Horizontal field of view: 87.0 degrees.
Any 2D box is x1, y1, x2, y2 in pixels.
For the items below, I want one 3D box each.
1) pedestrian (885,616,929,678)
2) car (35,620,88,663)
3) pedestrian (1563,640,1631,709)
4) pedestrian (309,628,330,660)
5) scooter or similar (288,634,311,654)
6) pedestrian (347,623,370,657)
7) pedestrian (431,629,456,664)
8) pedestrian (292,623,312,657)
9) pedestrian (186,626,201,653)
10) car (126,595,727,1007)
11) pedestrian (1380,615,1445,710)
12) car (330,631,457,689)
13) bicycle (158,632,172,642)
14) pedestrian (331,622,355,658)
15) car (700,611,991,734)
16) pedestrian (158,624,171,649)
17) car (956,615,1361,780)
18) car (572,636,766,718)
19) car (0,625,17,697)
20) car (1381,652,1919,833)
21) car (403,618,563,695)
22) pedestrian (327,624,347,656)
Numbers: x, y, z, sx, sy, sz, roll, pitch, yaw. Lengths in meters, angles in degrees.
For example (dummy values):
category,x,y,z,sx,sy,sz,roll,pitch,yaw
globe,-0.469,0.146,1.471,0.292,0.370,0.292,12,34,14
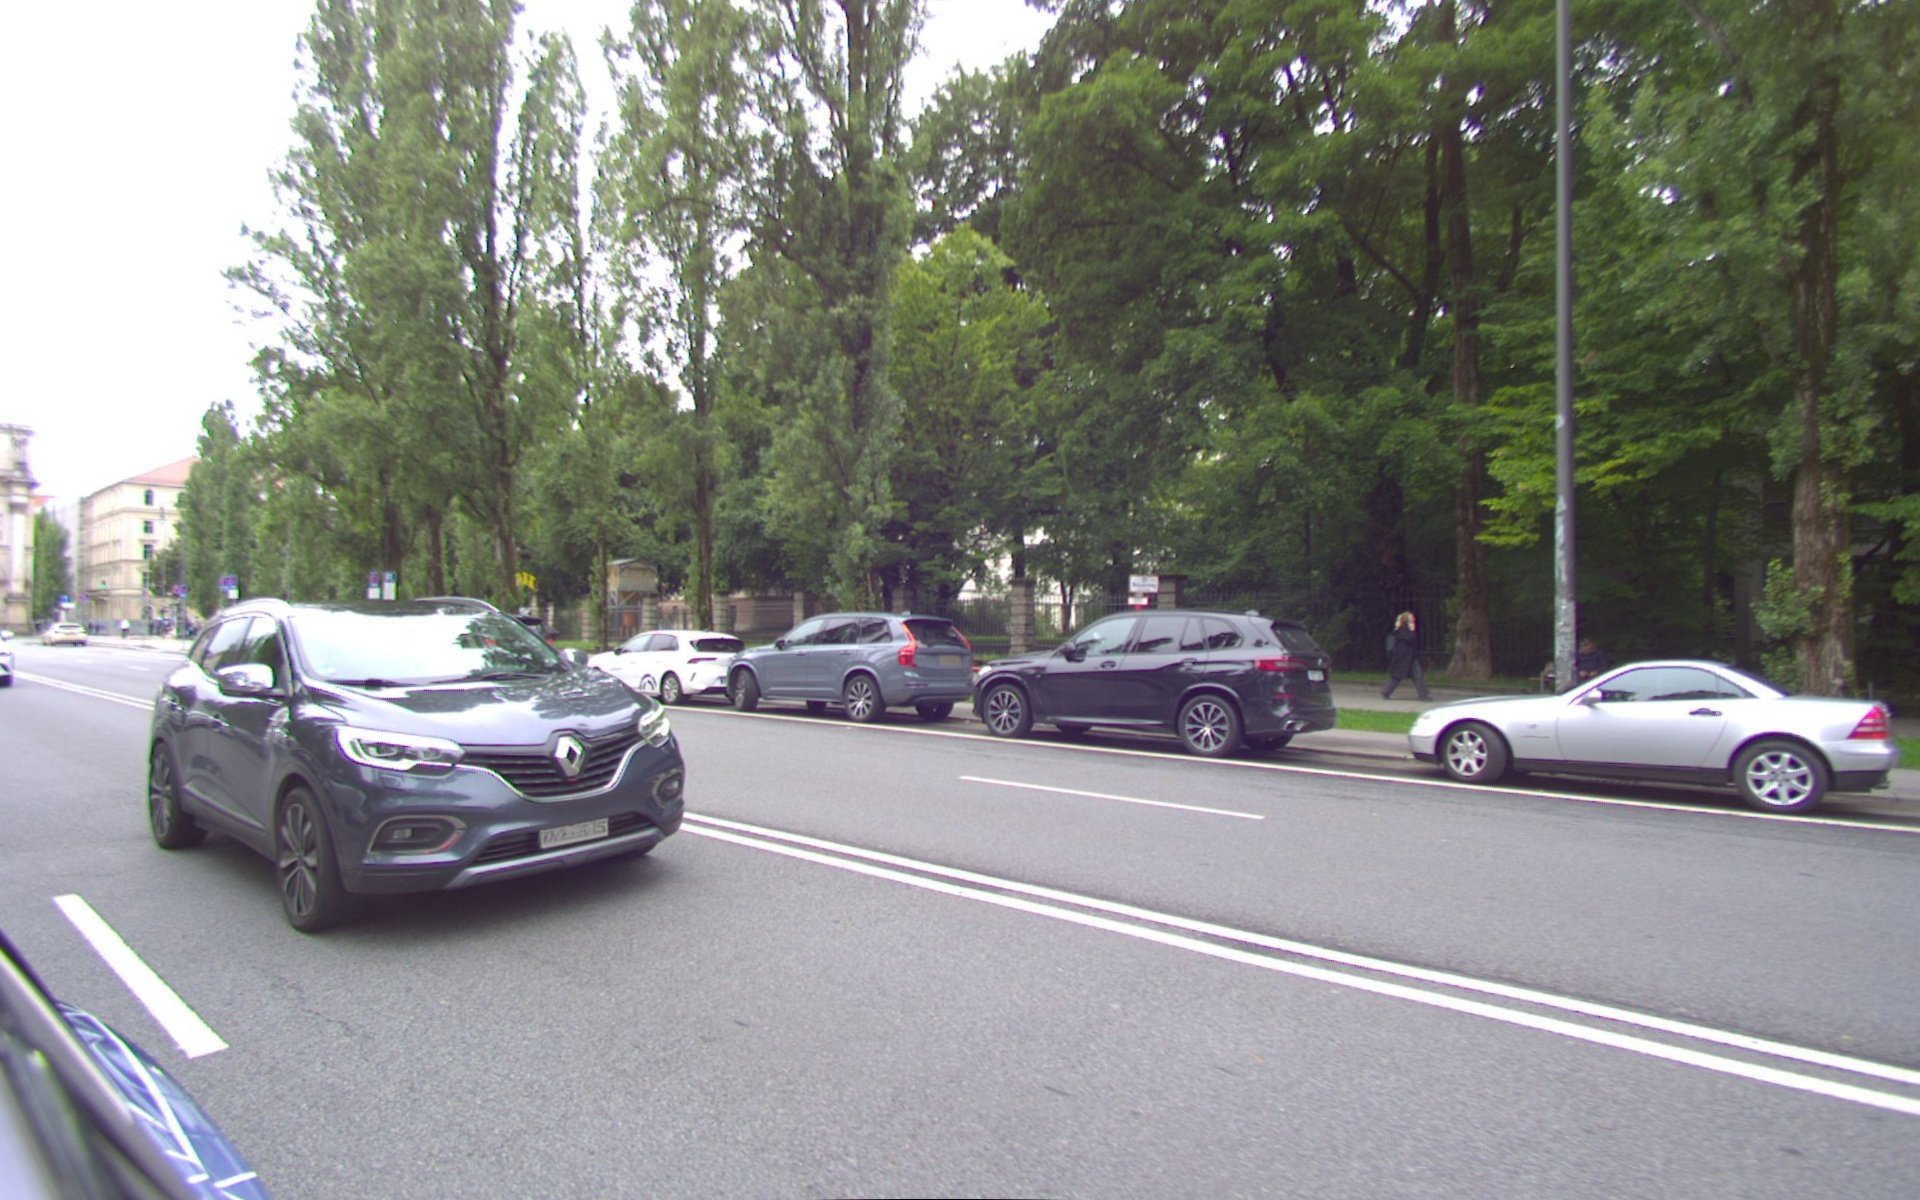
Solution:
category,x,y,z,sx,sy,sz,roll,pitch,yaw
pedestrian,-1.529,1.351,29.199,0.956,1.755,0.822,-2,-2,41
car,-56.198,2.544,63.287,4.473,1.344,1.774,20,11,38
pedestrian,11.678,1.343,18.549,0.922,1.187,0.957,-1,-1,41
pedestrian,-34.042,2.335,53.768,0.885,1.713,0.681,-2,-3,40
scooter or similar,-41.112,2.732,62.981,1.413,1.187,0.738,-2,-4,36
pedestrian,-31.623,2.085,53.180,1.092,1.786,0.702,-2,-2,40
pedestrian,-23.163,2.091,45.395,0.875,1.560,0.711,-2,-2,39
pedestrian,-34.591,2.079,53.183,0.907,1.760,0.623,-2,-3,40
pedestrian,-50.655,2.613,66.882,0.581,1.744,0.527,-1,-2,30
car,-3.385,0.815,6.017,4.184,1.598,1.816,-1,-1,42
pedestrian,8.585,1.164,19.219,0.956,1.755,0.659,-2,-2,41
car,-17.055,1.769,30.385,4.387,1.596,1.924,-2,-4,41
bicycle,-76.762,3.569,97.706,1.912,0.959,0.666,-2,-1,40
pedestrian,-32.082,2.054,52.610,1.092,1.847,0.702,-1,-2,40
car,-2.094,1.179,17.316,5.176,1.803,1.890,-1,-5,40
pedestrian,-54.818,2.526,69.740,0.581,1.744,0.527,-1,-2,30
car,2.450,1.168,13.251,4.891,1.781,1.921,-1,-5,39
car,-5.974,1.501,20.549,4.270,1.470,1.686,-1,-4,40
car,-22.265,1.323,22.233,4.007,1.537,1.885,-2,-2,42
car,6.550,1.227,9.812,4.230,1.344,1.807,-1,-5,40
car,-12.399,1.436,26.169,4.799,1.800,2.024,-2,-4,43
pedestrian,-33.610,2.139,54.581,0.910,1.729,0.653,-2,-3,40
